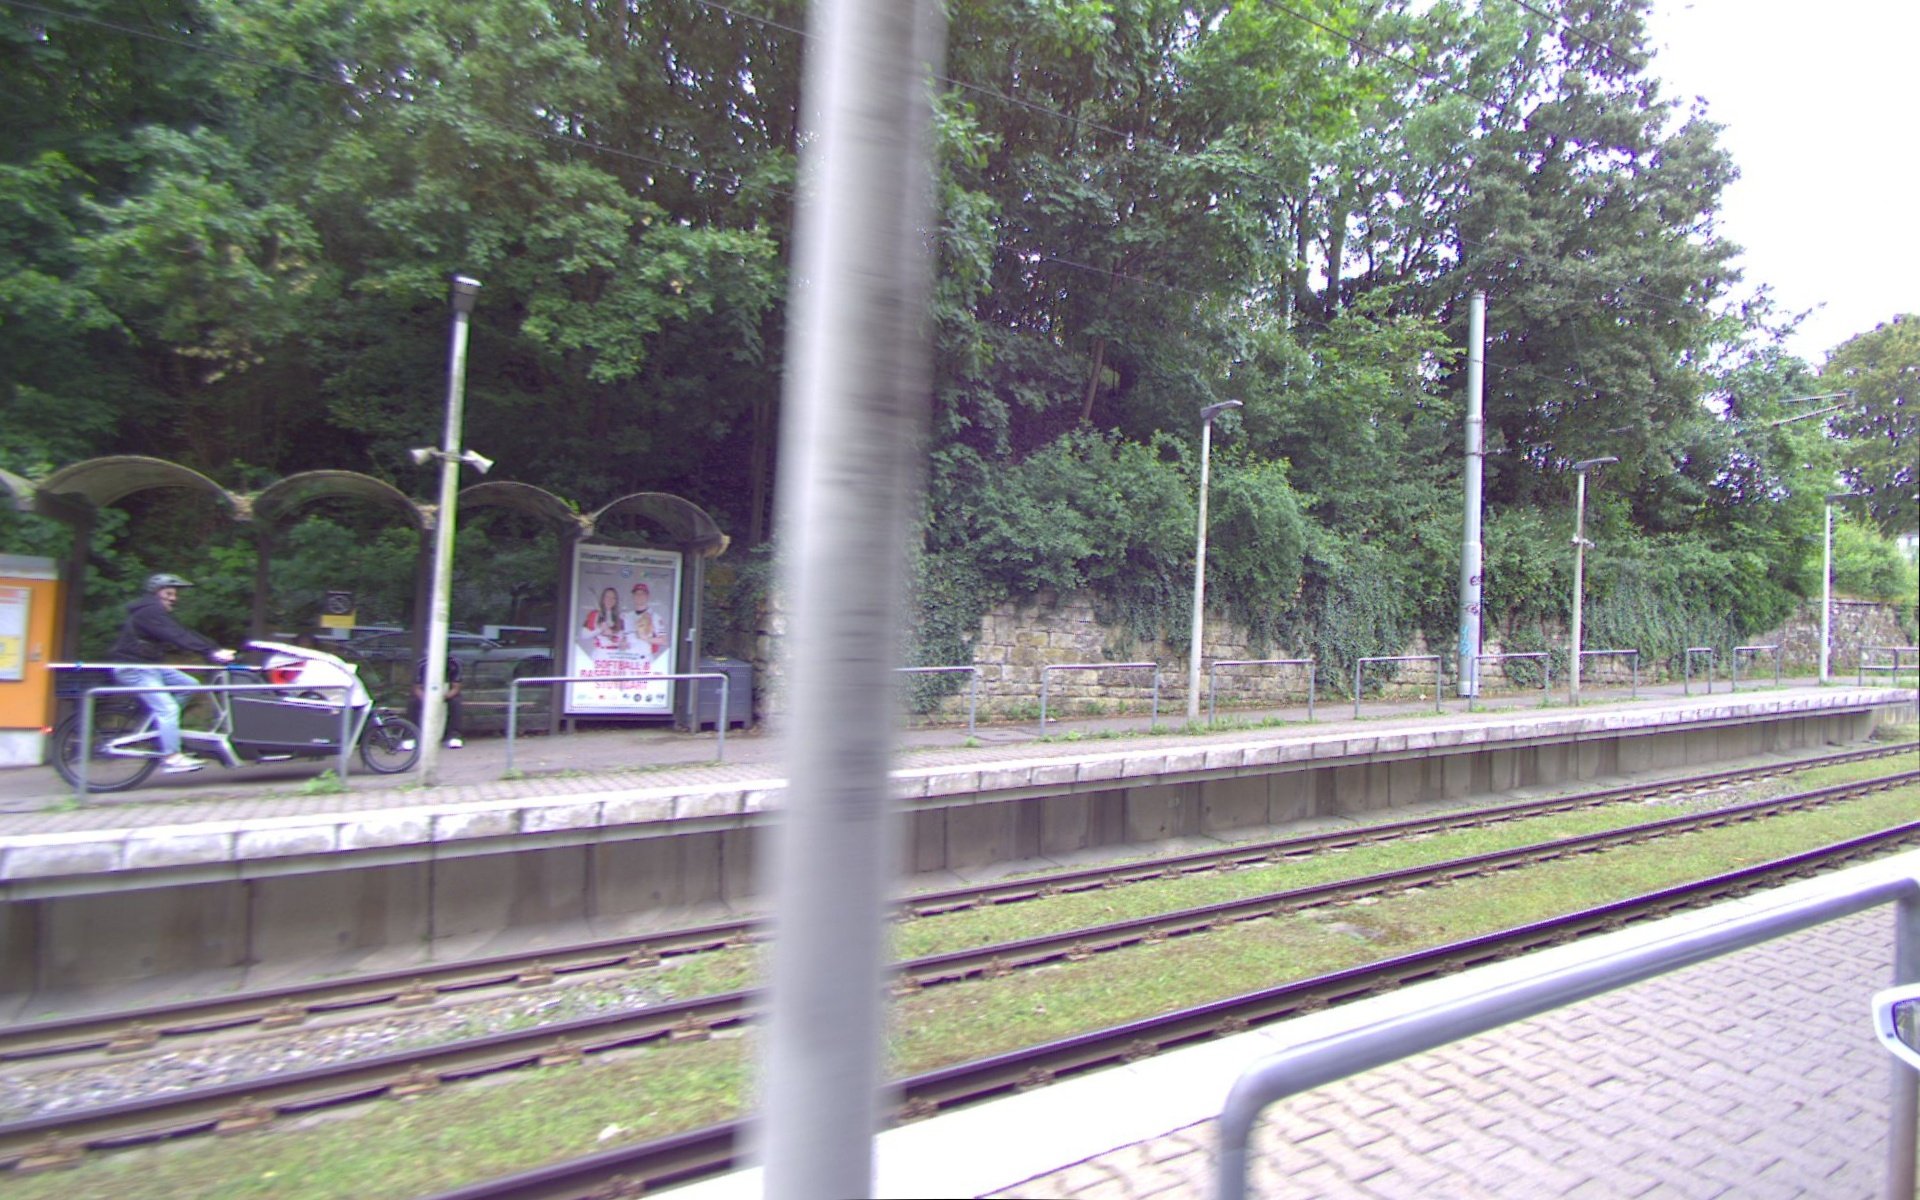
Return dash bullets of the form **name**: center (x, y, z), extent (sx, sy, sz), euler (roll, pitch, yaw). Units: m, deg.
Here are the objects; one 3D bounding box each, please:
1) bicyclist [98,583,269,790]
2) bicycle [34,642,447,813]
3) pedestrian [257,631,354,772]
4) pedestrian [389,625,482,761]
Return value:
- **bicyclist**: center (-6.544, 0.689, 8.523), extent (1.019, 1.650, 0.702), euler (0, 1, -27)
- **bicycle**: center (-6.076, 1.030, 8.763), extent (2.829, 1.256, 0.748), euler (0, 1, -26)
- **pedestrian**: center (-6.726, 1.008, 10.318), extent (0.767, 1.340, 0.815), euler (2, -1, -35)
- **pedestrian**: center (-5.733, 0.986, 10.968), extent (0.767, 1.393, 0.815), euler (2, -1, -35)
